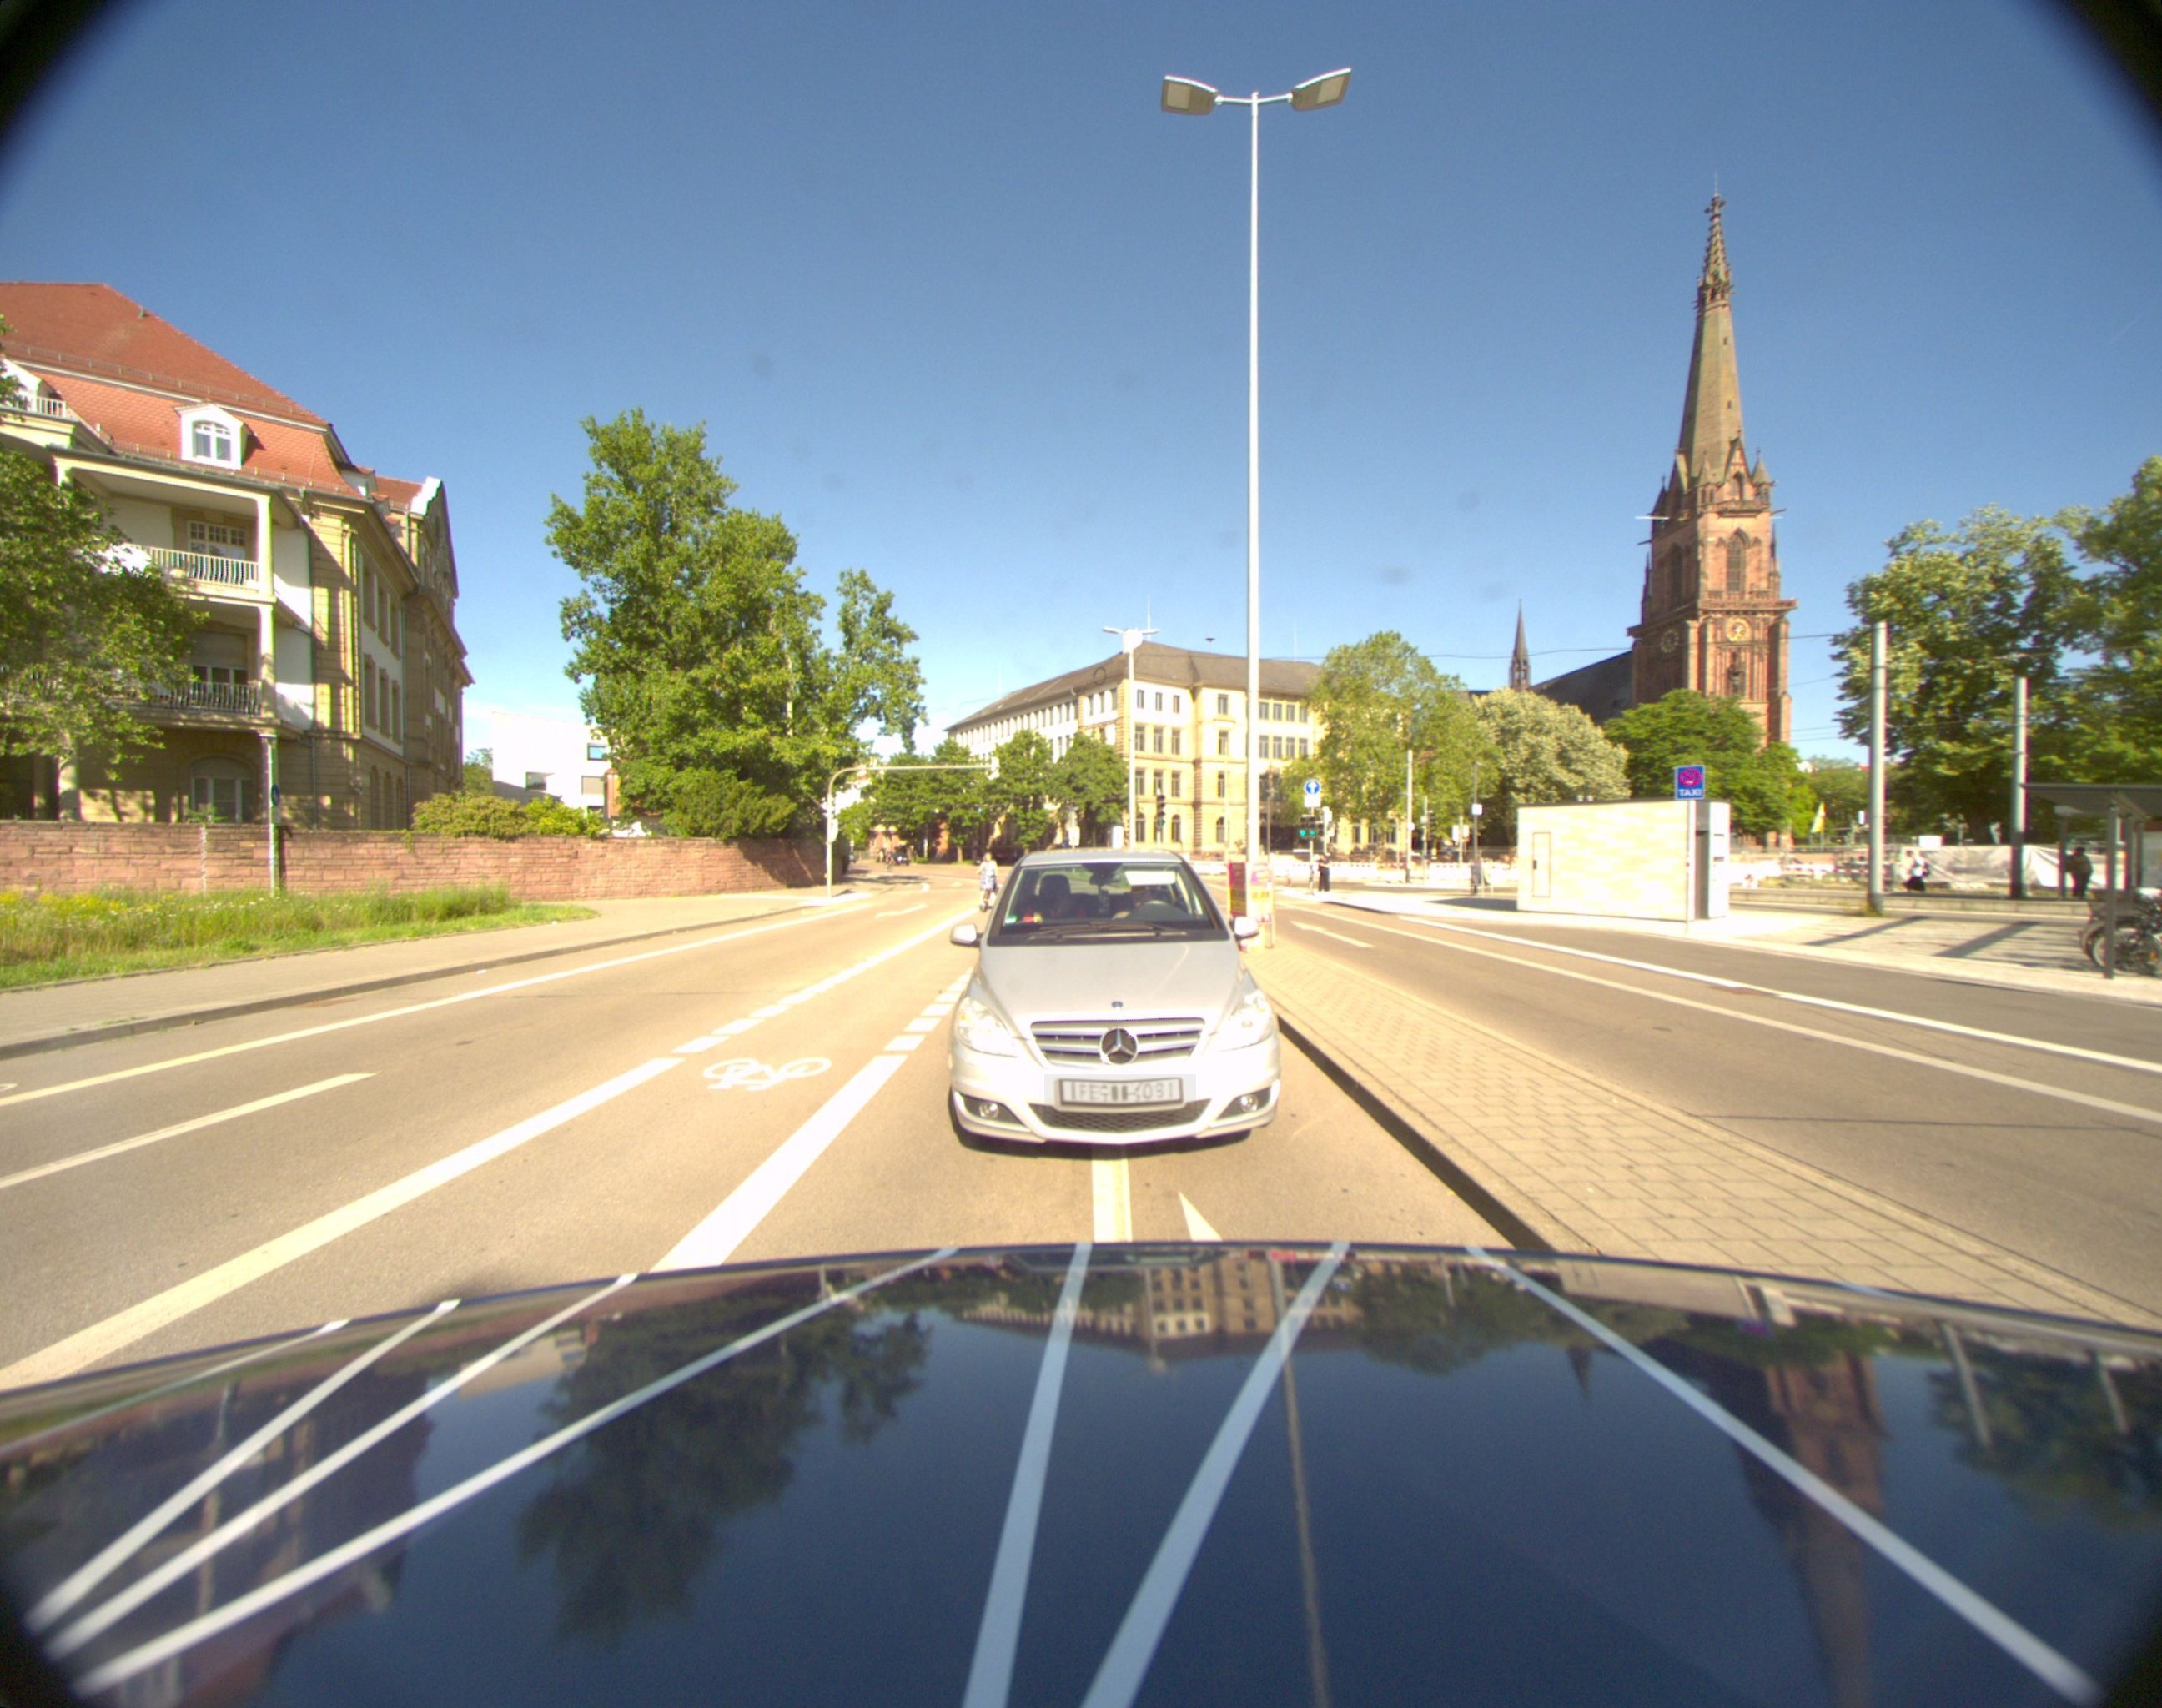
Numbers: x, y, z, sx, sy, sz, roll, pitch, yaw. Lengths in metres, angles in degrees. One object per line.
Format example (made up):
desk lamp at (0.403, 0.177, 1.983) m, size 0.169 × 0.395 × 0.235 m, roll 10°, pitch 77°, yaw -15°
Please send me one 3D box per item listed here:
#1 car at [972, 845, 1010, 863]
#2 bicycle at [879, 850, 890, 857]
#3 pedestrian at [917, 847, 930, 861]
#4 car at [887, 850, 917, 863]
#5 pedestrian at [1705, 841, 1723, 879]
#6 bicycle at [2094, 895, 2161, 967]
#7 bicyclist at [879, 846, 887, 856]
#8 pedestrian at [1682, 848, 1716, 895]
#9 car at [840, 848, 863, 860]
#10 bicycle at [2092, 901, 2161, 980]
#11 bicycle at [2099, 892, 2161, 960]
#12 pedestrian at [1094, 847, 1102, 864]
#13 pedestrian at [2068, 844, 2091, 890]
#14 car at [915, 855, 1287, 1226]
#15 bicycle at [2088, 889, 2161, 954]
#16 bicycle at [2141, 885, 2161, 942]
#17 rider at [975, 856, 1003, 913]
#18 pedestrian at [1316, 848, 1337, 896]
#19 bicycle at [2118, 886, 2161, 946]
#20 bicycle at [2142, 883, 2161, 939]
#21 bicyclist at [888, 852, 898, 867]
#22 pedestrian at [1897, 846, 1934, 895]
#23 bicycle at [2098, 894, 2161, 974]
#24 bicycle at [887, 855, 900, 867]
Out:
car at (-10.735, -0.036, 90.772) m, size 1.994 × 2.002 × 4.721 m, roll 0°, pitch 1°, yaw 32°
bicycle at (-27.599, -0.118, 106.745) m, size 1.830 × 0.985 × 0.735 m, roll 0°, pitch 1°, yaw 44°
pedestrian at (-20.890, 0.019, 100.801) m, size 0.934 × 1.812 × 1.394 m, roll 1°, pitch 1°, yaw 45°
car at (-21.576, 0.302, 91.571) m, size 1.798 × 1.490 × 4.562 m, roll 1°, pitch 1°, yaw -36°
pedestrian at (35.808, 0.345, 42.989) m, size 0.571 × 2.142 × 0.549 m, roll -1°, pitch 1°, yaw -25°
bicycle at (16.071, 1.142, 10.989) m, size 0.458 × 1.003 × 1.667 m, roll -1°, pitch 1°, yaw -33°
bicyclist at (-27.804, -0.432, 106.773) m, size 0.893 × 1.377 × 0.735 m, roll 1°, pitch 1°, yaw 44°
pedestrian at (23.938, 0.661, 29.444) m, size 0.980 × 1.769 × 0.801 m, roll -1°, pitch 1°, yaw -37°
car at (-32.868, 0.006, 108.725) m, size 1.865 × 1.533 × 4.229 m, roll 1°, pitch 1°, yaw -35°
bicycle at (14.698, 1.170, 9.978) m, size 0.458 × 1.003 × 1.667 m, roll -1°, pitch 1°, yaw -33°
bicycle at (17.258, 1.146, 11.668) m, size 0.458 × 1.003 × 1.899 m, roll -1°, pitch 1°, yaw -33°
pedestrian at (1.745, 0.167, 76.883) m, size 0.677 × 1.714 × 0.588 m, roll -1°, pitch 1°, yaw -22°
pedestrian at (37.568, 0.498, 28.592) m, size 0.404 × 1.711 × 0.419 m, roll 1°, pitch 1°, yaw 38°
car at (0.066, 0.874, 5.512) m, size 1.706 × 1.657 × 3.913 m, roll -1°, pitch 1°, yaw -1°
bicycle at (17.912, 1.126, 12.441) m, size 0.458 × 1.003 × 1.667 m, roll -1°, pitch 1°, yaw -33°
bicycle at (19.893, 1.074, 13.213) m, size 0.458 × 1.003 × 1.667 m, roll -1°, pitch 1°, yaw -33°
rider at (-2.677, 0.866, 22.179) m, size 0.658 × 1.610 × 0.989 m, roll -1°, pitch 1°, yaw 1°
pedestrian at (9.544, 0.686, 29.576) m, size 0.693 × 1.844 × 0.679 m, roll 0°, pitch 1°, yaw 13°
bicycle at (19.126, 1.097, 12.962) m, size 0.458 × 1.003 × 1.667 m, roll -1°, pitch 1°, yaw -33°
bicycle at (20.486, 1.062, 13.624) m, size 0.458 × 1.003 × 1.667 m, roll -1°, pitch 1°, yaw -33°
bicyclist at (-16.805, 0.454, 67.875) m, size 0.711 × 1.309 × 0.777 m, roll -1°, pitch 1°, yaw 1°
pedestrian at (30.687, 0.595, 27.941) m, size 0.980 × 1.769 × 0.801 m, roll -1°, pitch 1°, yaw -37°
bicycle at (15.199, 1.122, 10.293) m, size 0.458 × 1.055 × 1.667 m, roll -1°, pitch 1°, yaw -33°
bicycle at (-16.807, 0.606, 68.032) m, size 0.711 × 1.000 × 1.753 m, roll -1°, pitch 1°, yaw 1°
